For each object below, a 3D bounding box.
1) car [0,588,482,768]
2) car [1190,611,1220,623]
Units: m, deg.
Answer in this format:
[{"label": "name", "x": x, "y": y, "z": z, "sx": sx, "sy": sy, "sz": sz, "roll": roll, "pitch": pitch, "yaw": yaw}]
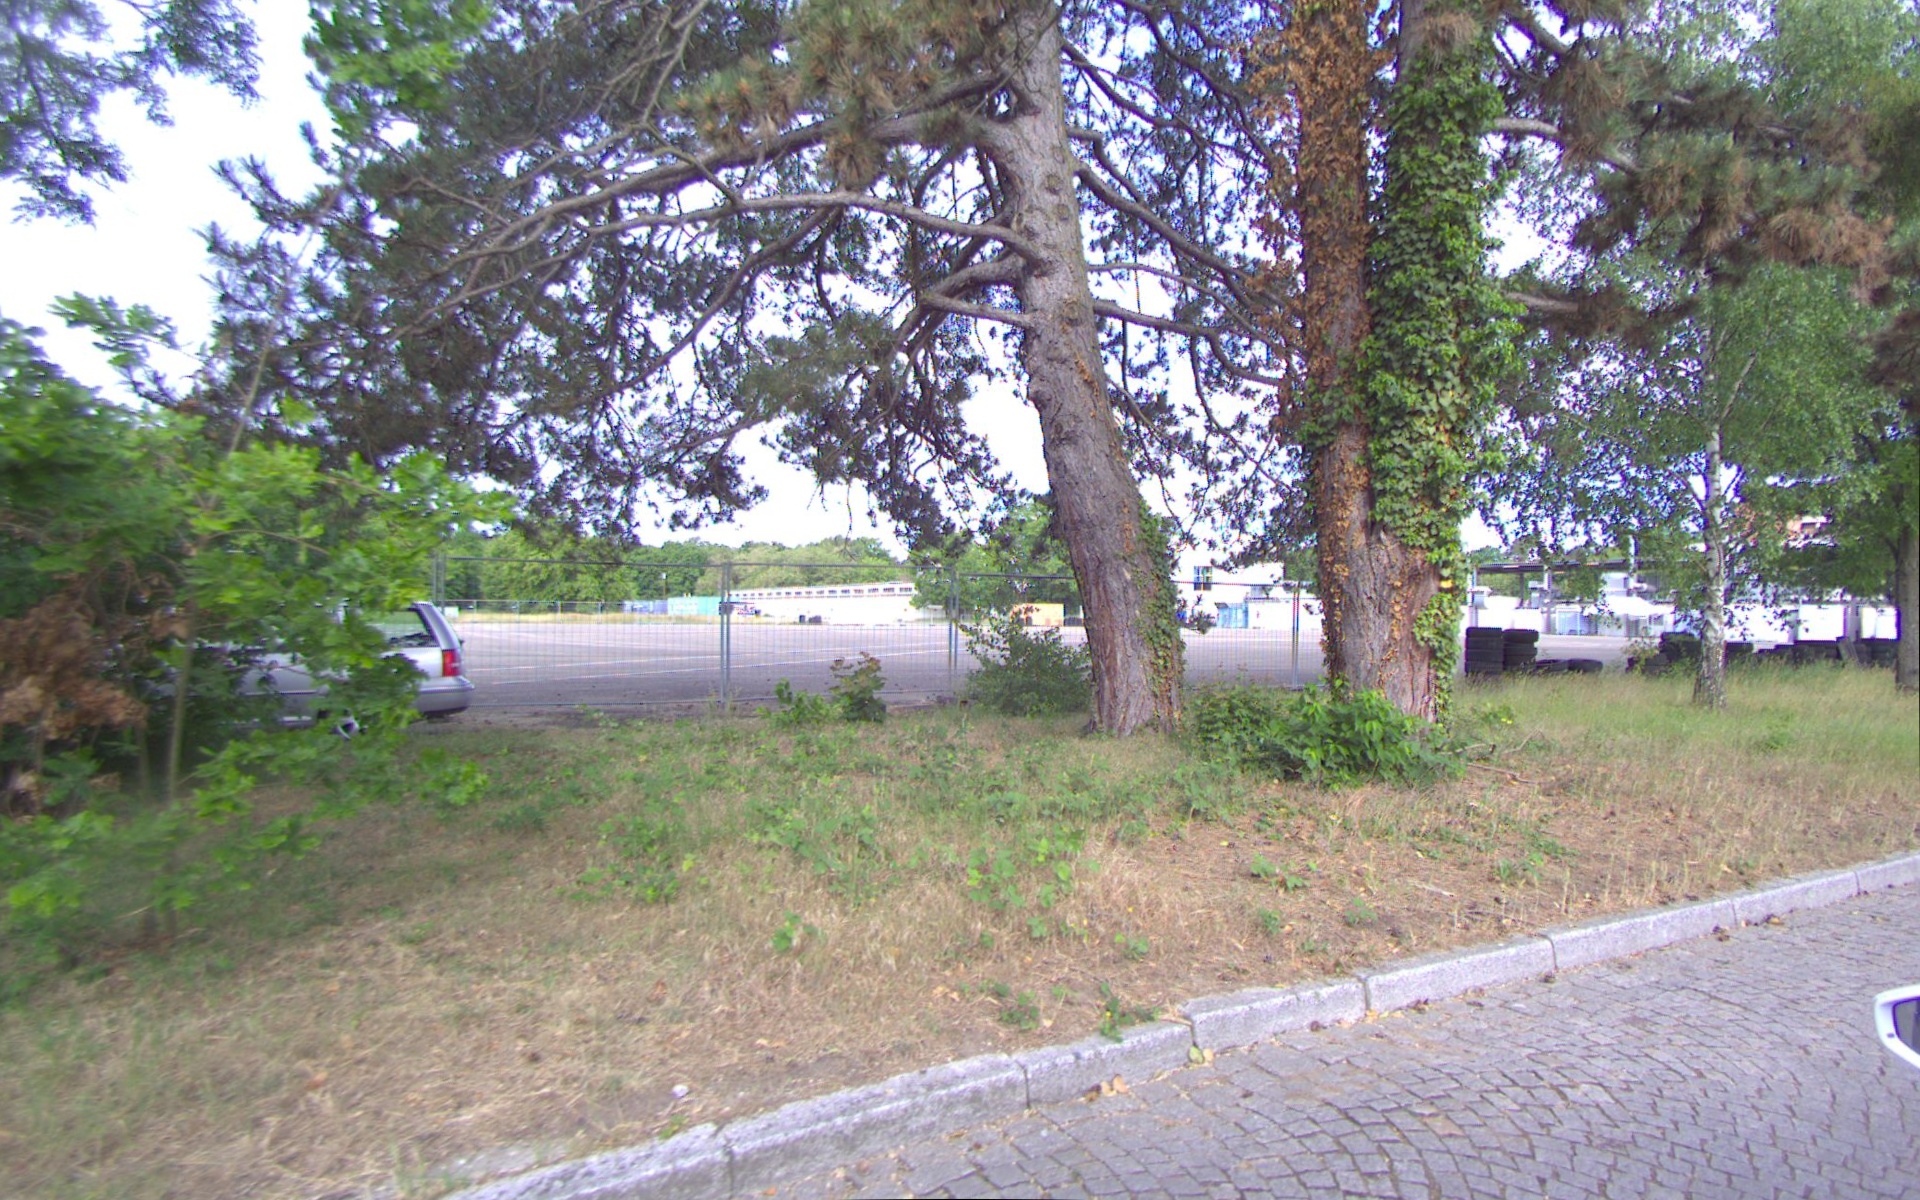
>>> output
[{"label": "car", "x": -7.088, "y": 0.655, "z": 9.584, "sx": 4.416, "sy": 1.457, "sz": 1.706, "roll": 1, "pitch": 0, "yaw": -31}, {"label": "car", "x": 32.953, "y": 2.324, "z": 135.309, "sx": 1.611, "sy": 1.553, "sz": 3.947, "roll": 1, "pitch": 0, "yaw": -30}]
